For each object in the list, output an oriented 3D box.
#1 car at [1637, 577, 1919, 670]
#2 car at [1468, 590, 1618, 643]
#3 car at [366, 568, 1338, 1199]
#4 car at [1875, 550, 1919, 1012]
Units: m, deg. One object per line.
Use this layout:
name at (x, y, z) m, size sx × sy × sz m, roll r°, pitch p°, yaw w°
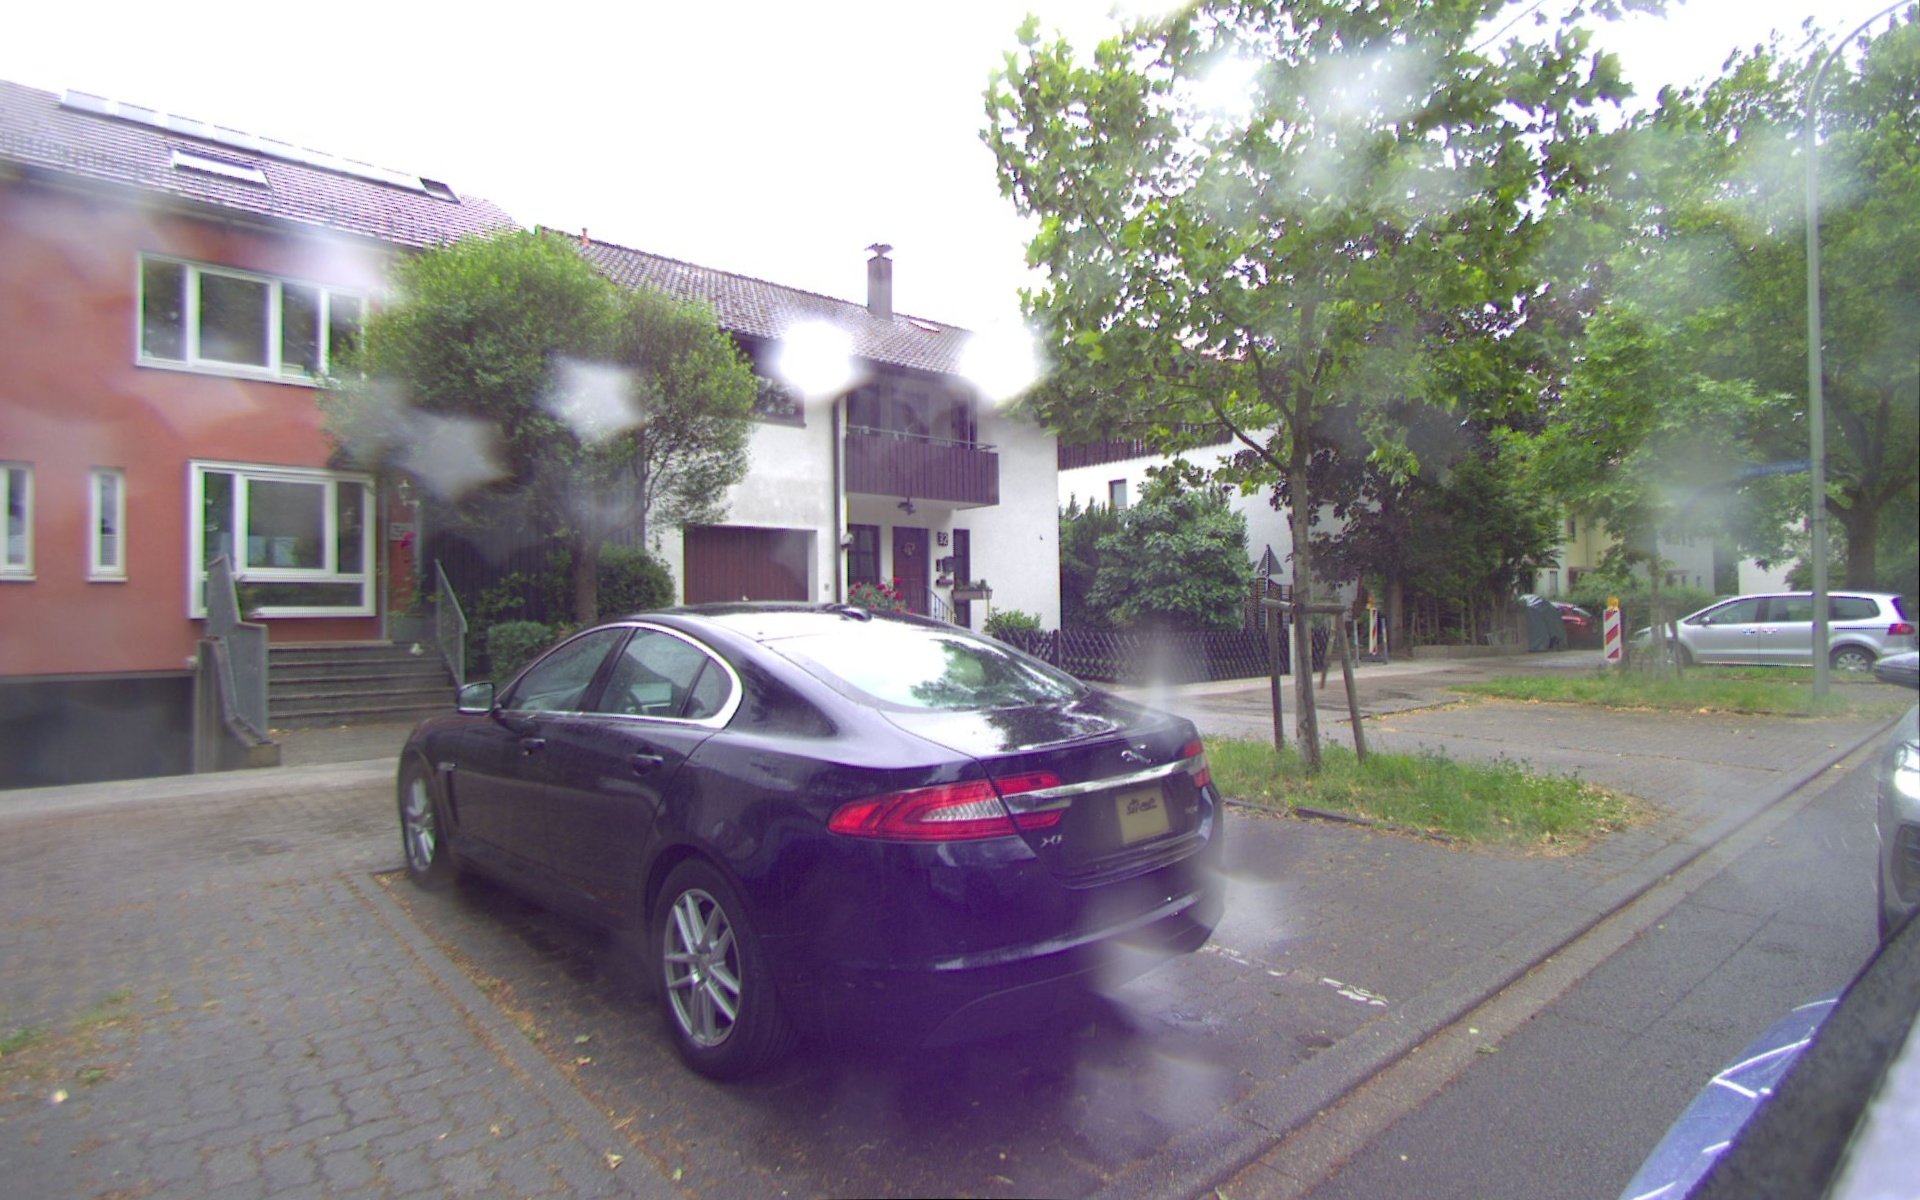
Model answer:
car at (16.710, 0.435, 20.489) m, size 1.942 × 1.682 × 4.694 m, roll 0°, pitch 0°, yaw -42°
car at (19.017, 0.510, 33.129) m, size 1.809 × 1.633 × 3.853 m, roll 0°, pitch 0°, yaw -39°
car at (-0.981, 0.672, 4.653) m, size 1.906 × 1.491 × 4.768 m, roll 0°, pitch 0°, yaw -45°
car at (5.577, 0.643, 4.386) m, size 4.346 × 1.638 × 1.861 m, roll 0°, pitch 0°, yaw -41°
